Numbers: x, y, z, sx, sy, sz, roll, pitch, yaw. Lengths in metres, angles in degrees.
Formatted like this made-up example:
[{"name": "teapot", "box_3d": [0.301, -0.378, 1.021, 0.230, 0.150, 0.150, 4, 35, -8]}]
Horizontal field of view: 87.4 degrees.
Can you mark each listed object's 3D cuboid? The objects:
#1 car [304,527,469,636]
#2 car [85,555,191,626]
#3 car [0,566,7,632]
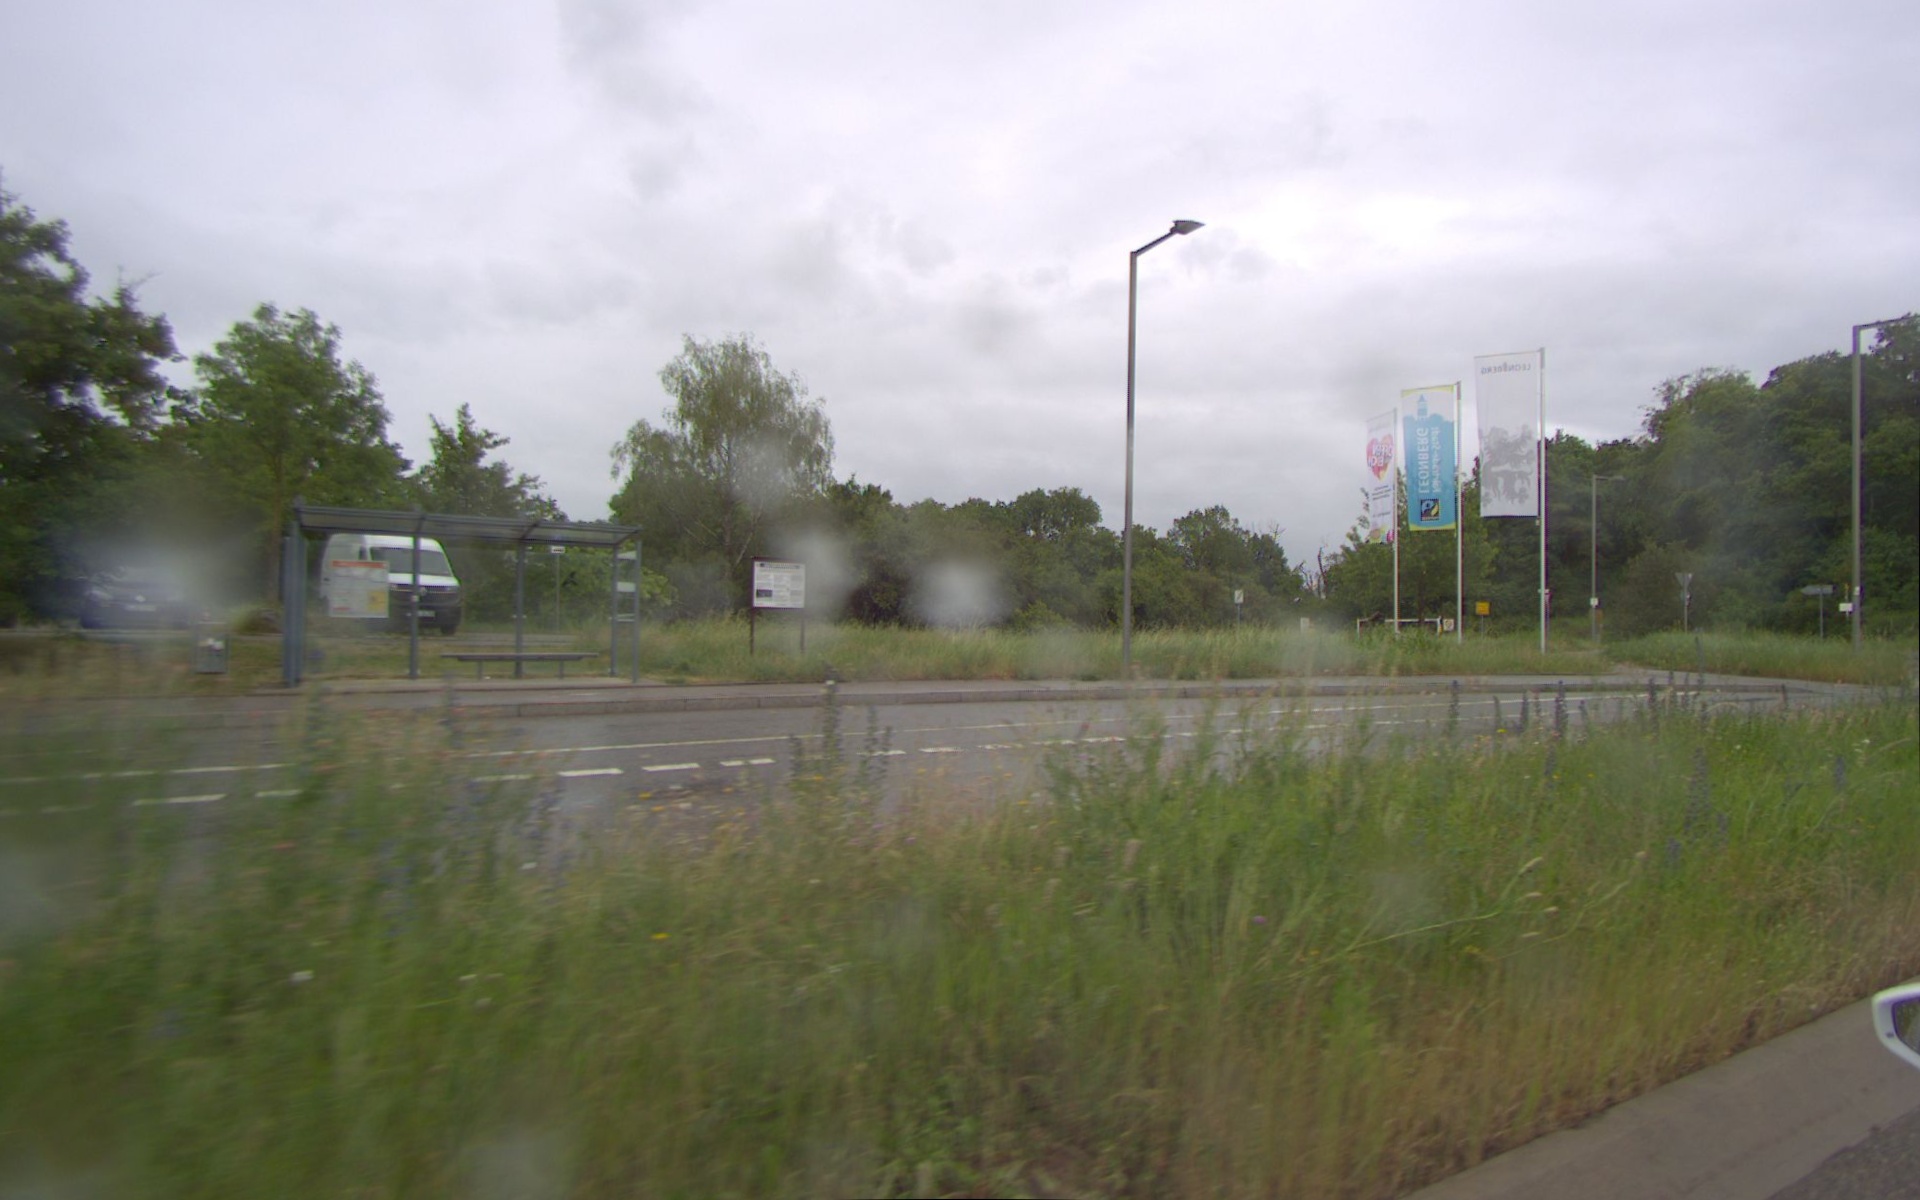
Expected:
[{"name": "car", "box_3d": [-14.943, -0.444, 25.949, 2.125, 2.429, 6.492, 4, -2, -43]}, {"name": "car", "box_3d": [-17.874, -0.238, 21.978, 1.638, 1.382, 3.956, 2, 1, -38]}, {"name": "car", "box_3d": [-20.237, -0.063, 19.678, 1.831, 1.382, 3.957, 2, -2, -38]}]
